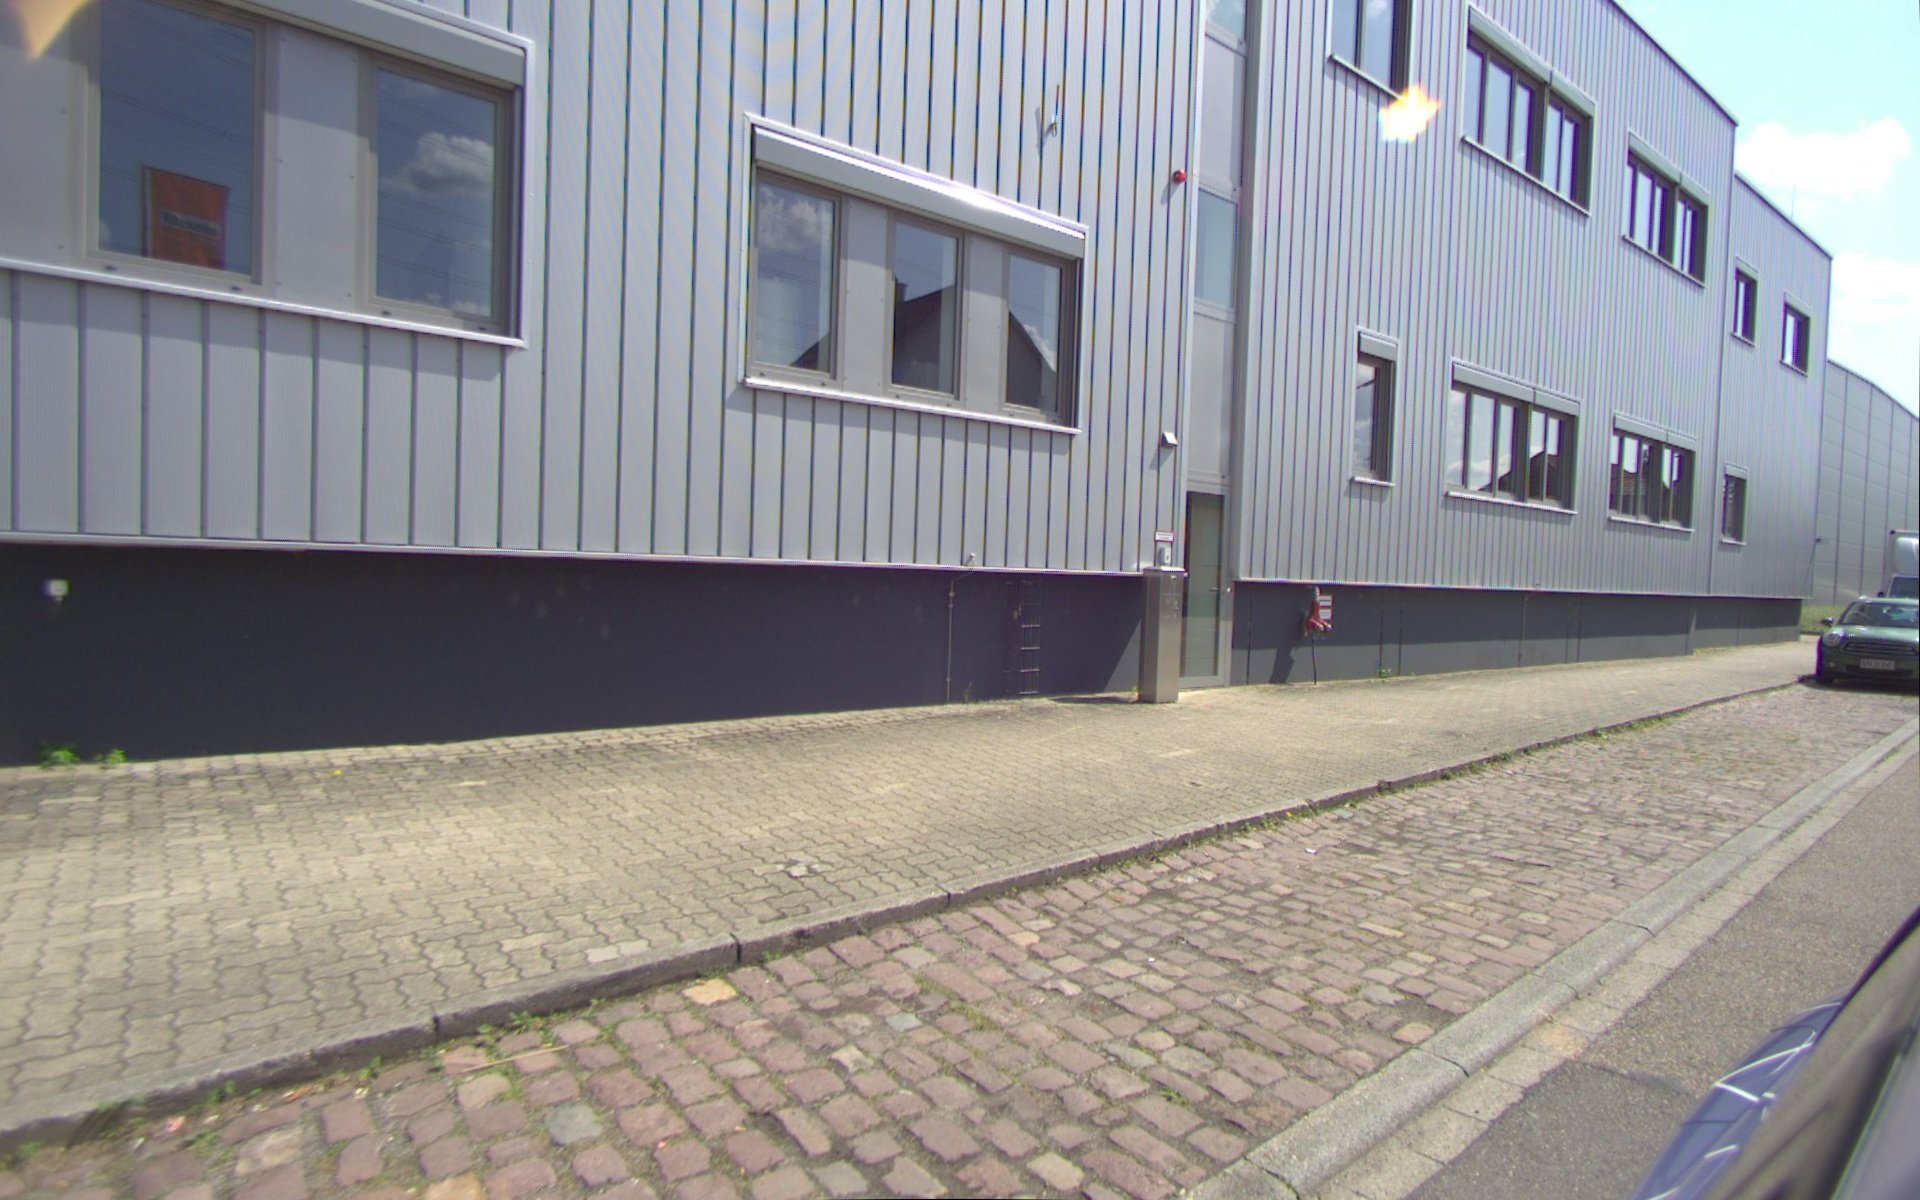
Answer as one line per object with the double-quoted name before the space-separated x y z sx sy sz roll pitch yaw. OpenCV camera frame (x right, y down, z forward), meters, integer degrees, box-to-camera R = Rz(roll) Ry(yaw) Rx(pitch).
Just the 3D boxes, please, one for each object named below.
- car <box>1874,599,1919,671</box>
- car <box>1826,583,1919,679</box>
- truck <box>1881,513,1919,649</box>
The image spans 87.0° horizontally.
"car" 21.042 0.716 21.676 4.183 1.451 1.713 0 0 -41
"car" 16.649 0.496 17.710 4.043 1.530 1.713 0 0 -41
"truck" 26.323 -0.449 26.642 7.944 3.266 2.602 0 0 -44
